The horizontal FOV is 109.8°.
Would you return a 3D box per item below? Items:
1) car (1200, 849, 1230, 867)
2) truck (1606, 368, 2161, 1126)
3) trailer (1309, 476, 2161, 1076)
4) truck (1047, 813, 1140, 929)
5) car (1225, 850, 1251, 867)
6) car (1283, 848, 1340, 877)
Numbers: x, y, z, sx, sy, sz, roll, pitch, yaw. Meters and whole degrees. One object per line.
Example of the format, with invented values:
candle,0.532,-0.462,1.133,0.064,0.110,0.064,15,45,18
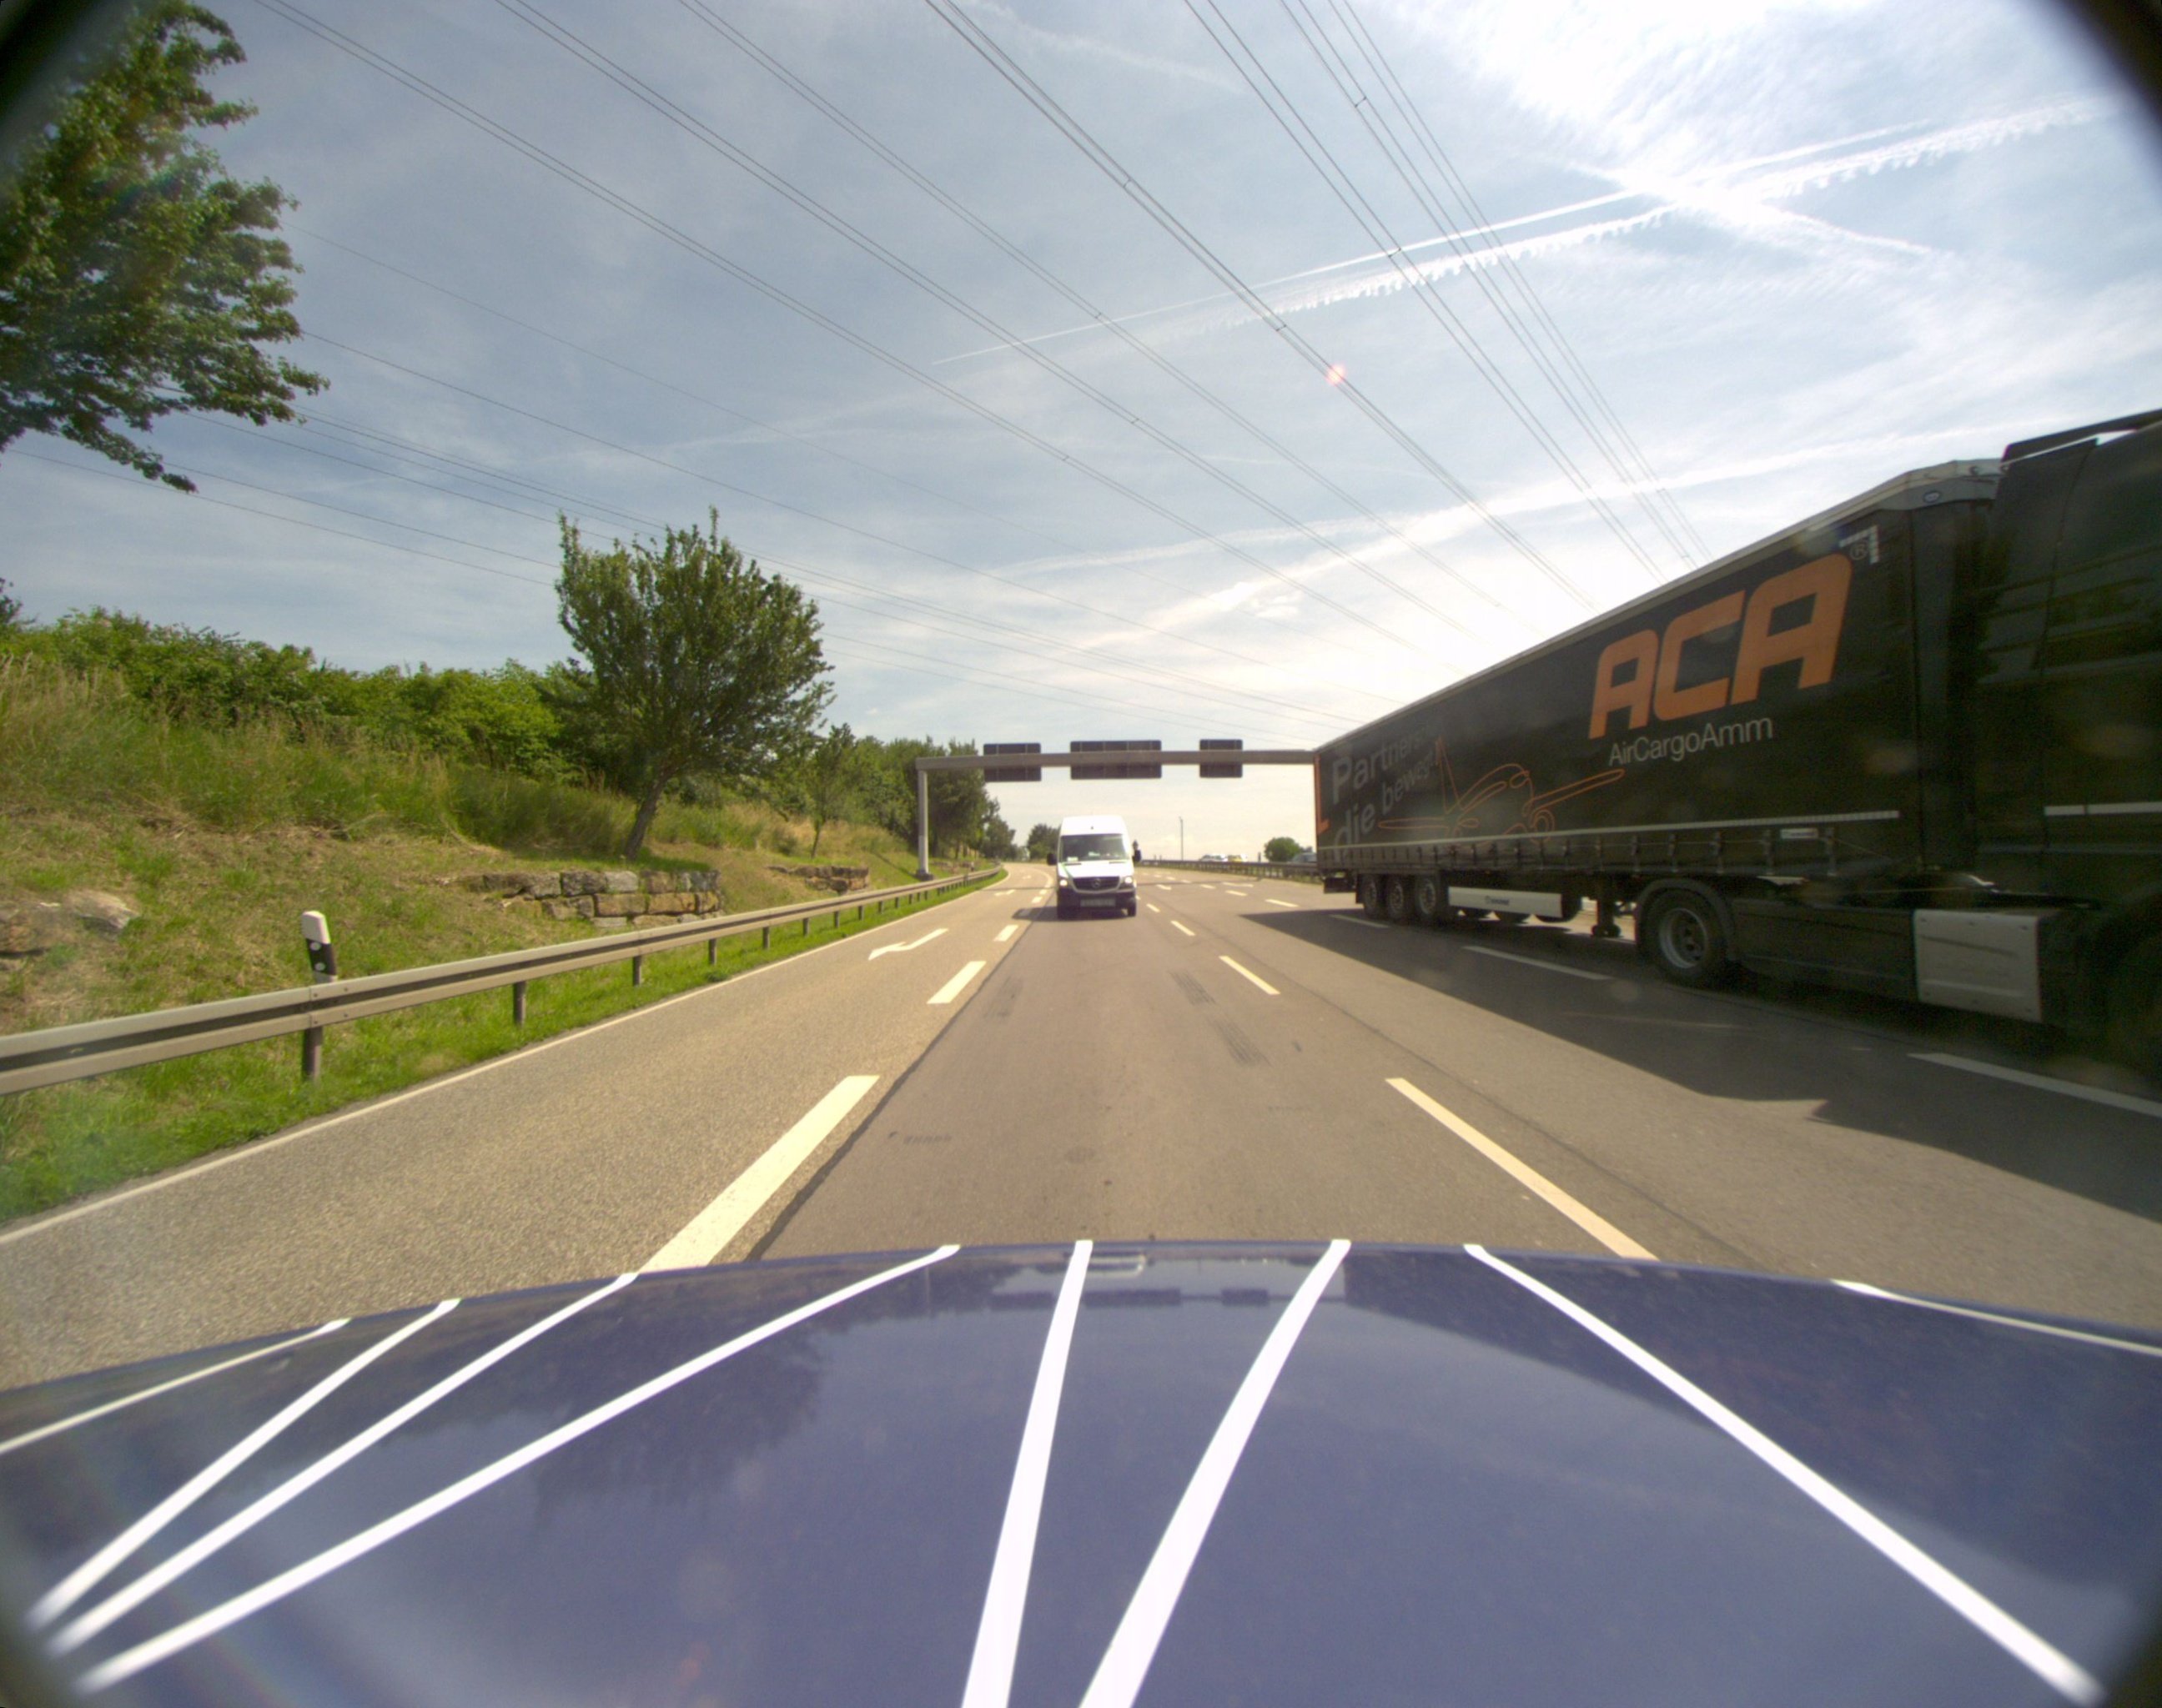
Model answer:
car,11.377,0.305,64.770,1.740,1.434,4.323,1,0,-1
truck,7.098,-0.599,5.190,2.790,3.990,5.970,-2,1,0
trailer,7.093,-0.569,11.896,2.790,3.891,13.785,-2,0,0
truck,0.297,0.362,19.453,1.998,2.518,5.105,-2,0,1
car,14.242,0.425,69.208,1.518,1.472,3.703,1,0,-1
car,12.867,0.450,42.677,1.740,1.495,4.323,1,0,-1
